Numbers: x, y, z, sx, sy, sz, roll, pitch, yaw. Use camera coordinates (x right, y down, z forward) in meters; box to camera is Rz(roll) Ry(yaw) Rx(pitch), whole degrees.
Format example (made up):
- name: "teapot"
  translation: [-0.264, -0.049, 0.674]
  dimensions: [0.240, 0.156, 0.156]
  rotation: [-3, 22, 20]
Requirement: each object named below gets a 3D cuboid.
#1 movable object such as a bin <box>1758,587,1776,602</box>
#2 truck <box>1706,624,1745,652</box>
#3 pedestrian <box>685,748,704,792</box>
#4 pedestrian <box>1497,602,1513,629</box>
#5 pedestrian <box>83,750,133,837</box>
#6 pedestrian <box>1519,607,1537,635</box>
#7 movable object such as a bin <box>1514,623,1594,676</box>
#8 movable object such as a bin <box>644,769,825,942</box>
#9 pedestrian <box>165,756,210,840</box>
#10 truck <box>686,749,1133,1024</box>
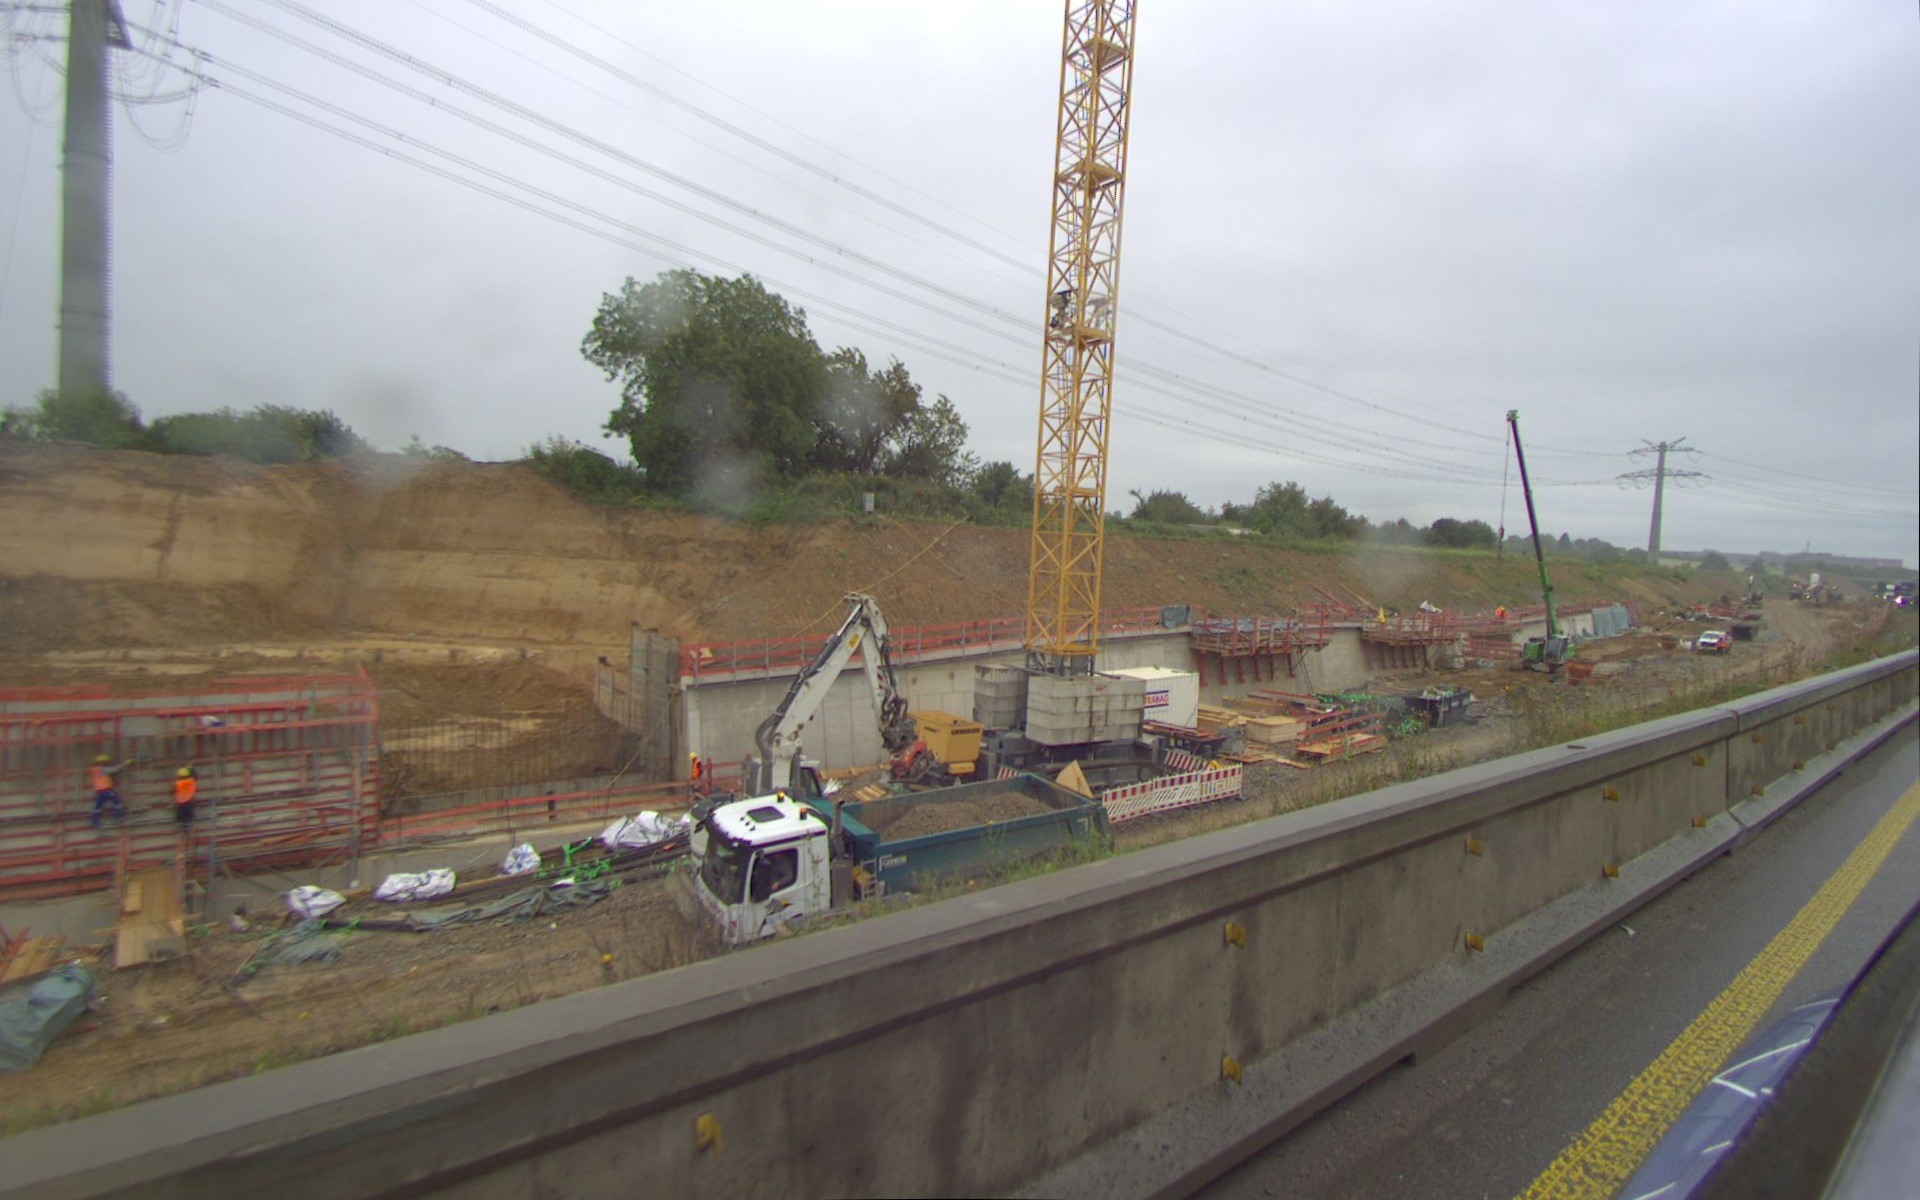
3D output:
- name: "movable object such as a bin"
  translation: [142.594, -0.994, 178.762]
  dimensions: [2.244, 2.753, 3.940]
  rotation: [0, 1, 42]
- name: "truck"
  translation: [63.275, 3.100, 83.587]
  dimensions: [1.763, 1.894, 5.693]
  rotation: [3, 3, 45]
- name: "pedestrian"
  translation: [-9.172, 5.879, 34.953]
  dimensions: [0.392, 1.455, 0.424]
  rotation: [-1, -8, -38]
- name: "pedestrian"
  translation: [47.755, 1.371, 88.706]
  dimensions: [0.914, 2.275, 0.991]
  rotation: [-5, -3, 41]
- name: "pedestrian"
  translation: [-21.526, 4.887, 25.576]
  dimensions: [0.882, 2.027, 0.904]
  rotation: [-1, -9, -36]
- name: "pedestrian"
  translation: [49.073, 1.810, 87.424]
  dimensions: [0.989, 2.260, 0.916]
  rotation: [-2, -3, -41]
- name: "movable object such as a bin"
  translation: [41.310, 3.382, 70.329]
  dimensions: [3.794, 2.836, 4.783]
  rotation: [2, 7, 44]
- name: "movable object such as a bin"
  translation: [-5.166, 5.636, 23.062]
  dimensions: [2.917, 2.772, 3.155]
  rotation: [-1, 1, -41]
- name: "pedestrian"
  translation: [-20.242, 5.179, 26.525]
  dimensions: [0.882, 2.027, 0.904]
  rotation: [-1, -9, -36]
- name: "truck"
  translation: [-0.821, 5.362, 20.534]
  dimensions: [8.768, 3.547, 2.711]
  rotation: [-1, 1, -29]
